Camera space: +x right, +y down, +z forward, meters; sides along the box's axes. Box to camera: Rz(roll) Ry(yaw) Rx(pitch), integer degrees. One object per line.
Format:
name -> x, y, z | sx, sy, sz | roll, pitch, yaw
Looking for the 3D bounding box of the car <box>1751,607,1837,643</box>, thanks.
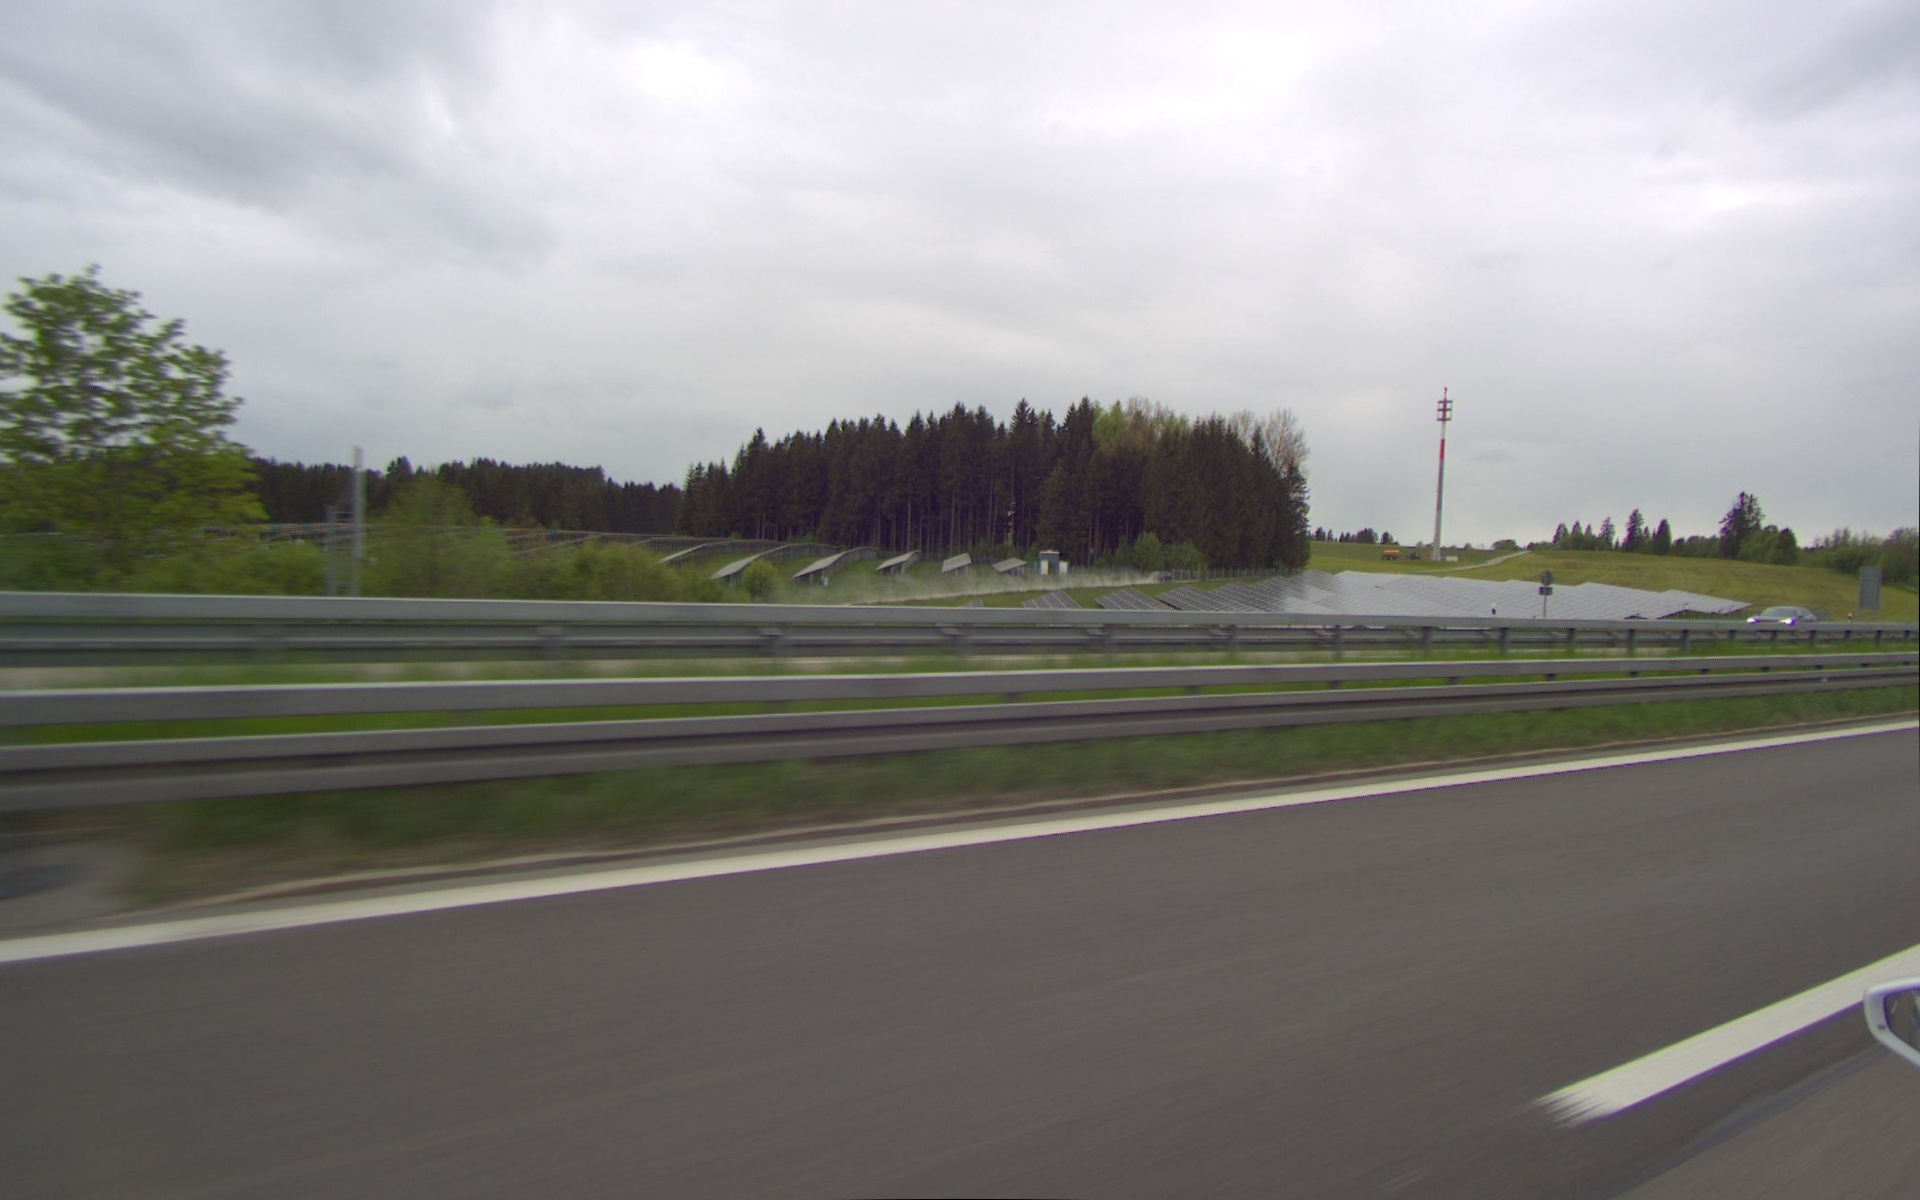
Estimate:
car -> 40.176, 1.191, 48.371 | 4.106, 1.518, 1.981 | 1, 3, -33
